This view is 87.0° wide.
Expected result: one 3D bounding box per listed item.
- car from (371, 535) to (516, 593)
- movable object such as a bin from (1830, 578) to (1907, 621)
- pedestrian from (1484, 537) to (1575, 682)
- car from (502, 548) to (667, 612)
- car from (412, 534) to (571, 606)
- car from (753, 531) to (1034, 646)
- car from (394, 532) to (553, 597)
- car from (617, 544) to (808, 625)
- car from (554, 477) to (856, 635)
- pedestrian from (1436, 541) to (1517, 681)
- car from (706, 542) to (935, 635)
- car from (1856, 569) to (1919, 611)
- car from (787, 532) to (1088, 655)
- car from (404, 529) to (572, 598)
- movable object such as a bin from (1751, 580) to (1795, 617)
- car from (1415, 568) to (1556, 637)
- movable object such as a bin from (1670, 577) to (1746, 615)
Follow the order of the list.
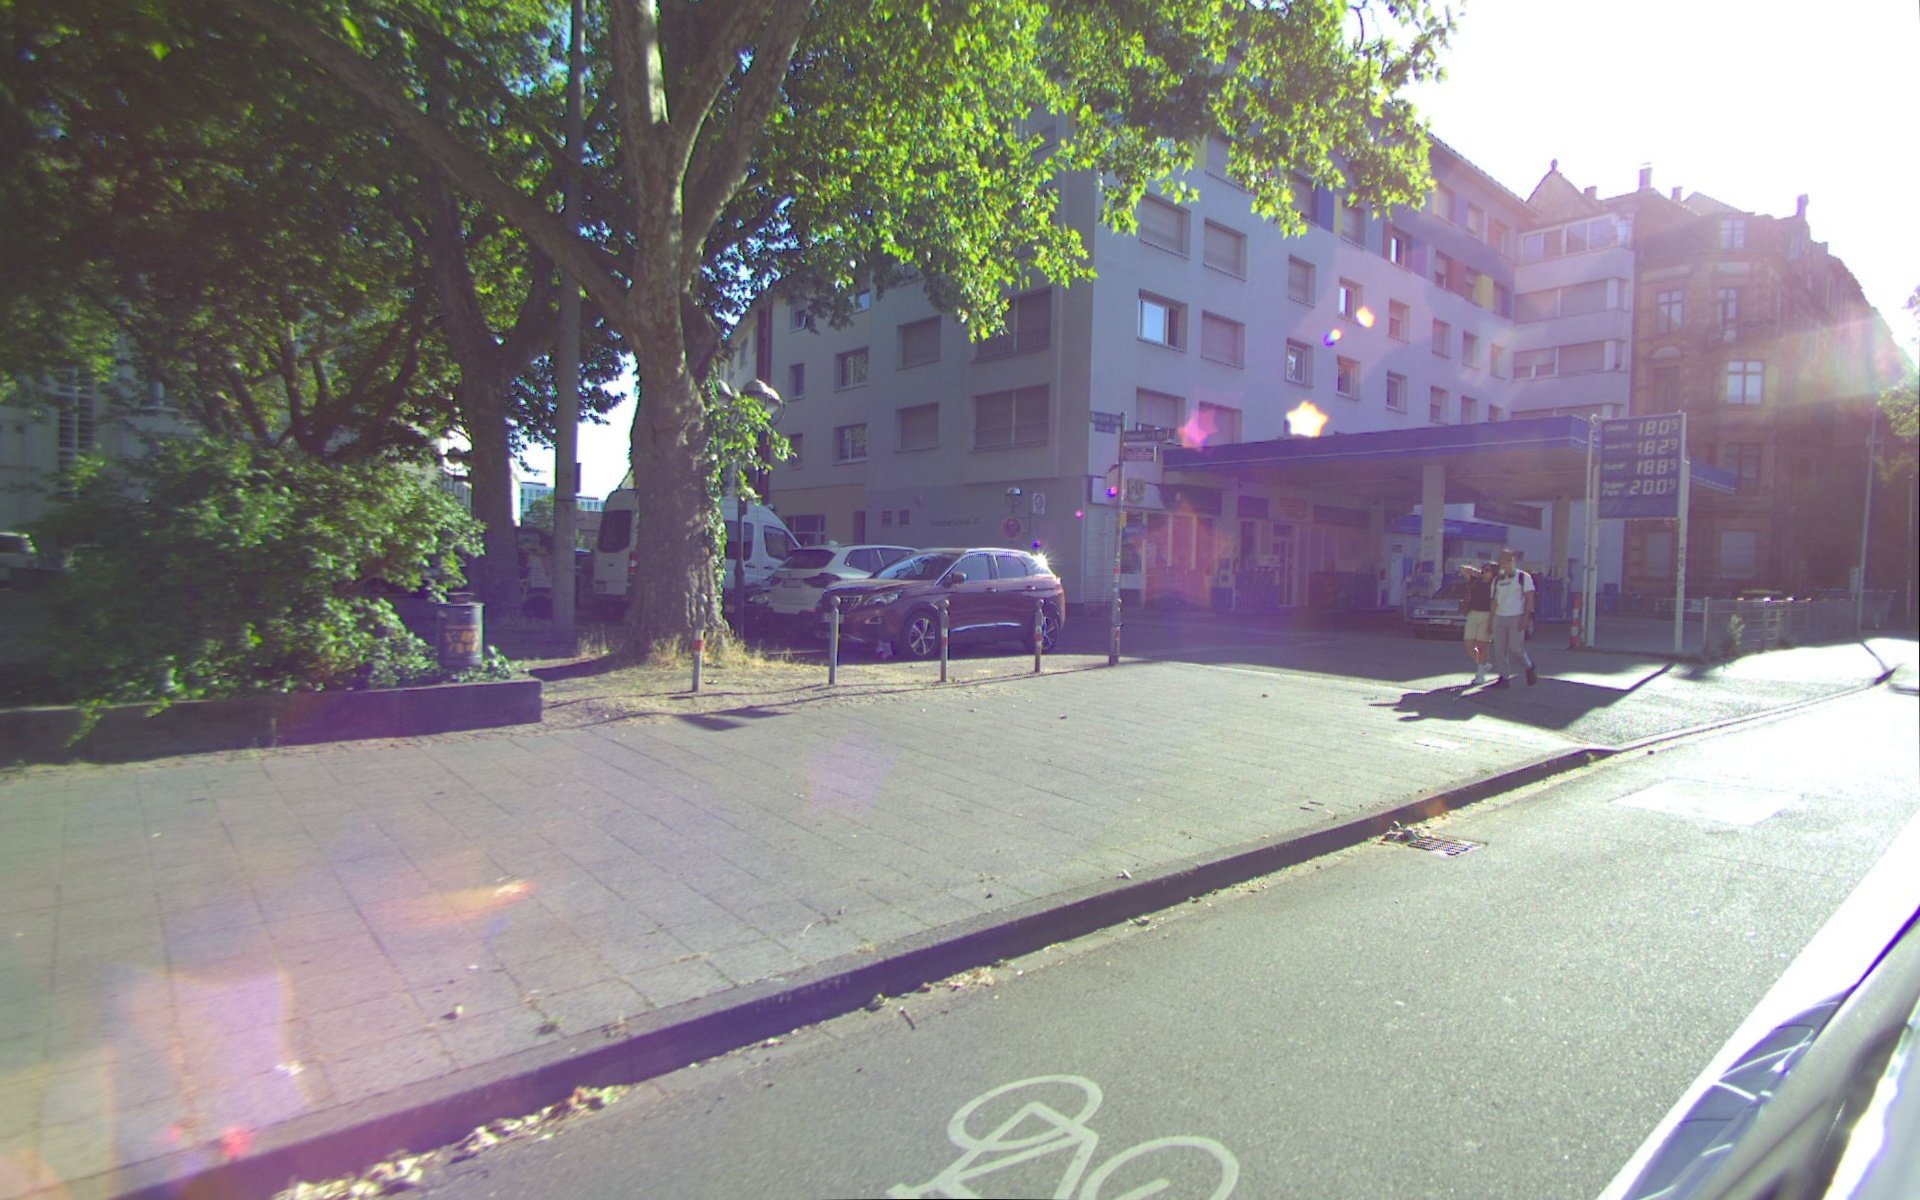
[{"bbox_3d":[-20.195,-1.378,39.685,4.667,2.039,1.997,2,1,-41],"label":"car"},{"bbox_3d":[33.778,-0.037,37.630,1.718,1.509,2.036,0,2,-45],"label":"movable object such as a bin"},{"bbox_3d":[7.422,0.105,13.182,0.863,1.797,0.605,0,5,-37],"label":"pedestrian"},{"bbox_3d":[-10.196,-0.561,27.708,1.733,1.613,3.947,3,3,37],"label":"car"},{"bbox_3d":[-14.260,-0.919,30.959,1.989,2.038,3.948,3,2,36],"label":"car"},{"bbox_3d":[-1.045,-0.185,17.642,4.714,1.756,1.863,1,2,-41],"label":"car"},{"bbox_3d":[-17.084,-1.218,35.684,4.667,2.039,1.997,2,1,-41],"label":"car"},{"bbox_3d":[-5.792,-0.388,23.893,3.933,1.760,1.996,-1,2,-43],"label":"car"},{"bbox_3d":[-5.172,-0.863,21.111,5.696,2.867,2.245,-1,2,-41],"label":"car"},{"bbox_3d":[6.956,0.130,13.636,0.677,1.797,0.605,0,5,-37],"label":"pedestrian"},{"bbox_3d":[-2.586,-0.215,19.248,3.930,1.589,1.863,1,2,-41],"label":"car"},{"bbox_3d":[49.939,-0.456,52.729,1.881,2.038,4.583,0,4,-41],"label":"car"},{"bbox_3d":[-0.210,-0.104,15.527,4.585,1.622,1.819,1,2,-44],"label":"car"},{"bbox_3d":[-15.604,-1.172,33.593,4.667,2.039,1.997,2,1,-41],"label":"car"},{"bbox_3d":[32.115,-0.086,39.966,1.011,1.406,1.187,0,2,-43],"label":"movable object such as a bin"},{"bbox_3d":[12.265,0.016,23.539,4.028,1.448,1.570,-1,3,-42],"label":"car"},{"bbox_3d":[30.221,-0.176,40.893,1.749,1.441,2.210,0,2,-44],"label":"movable object such as a bin"}]
